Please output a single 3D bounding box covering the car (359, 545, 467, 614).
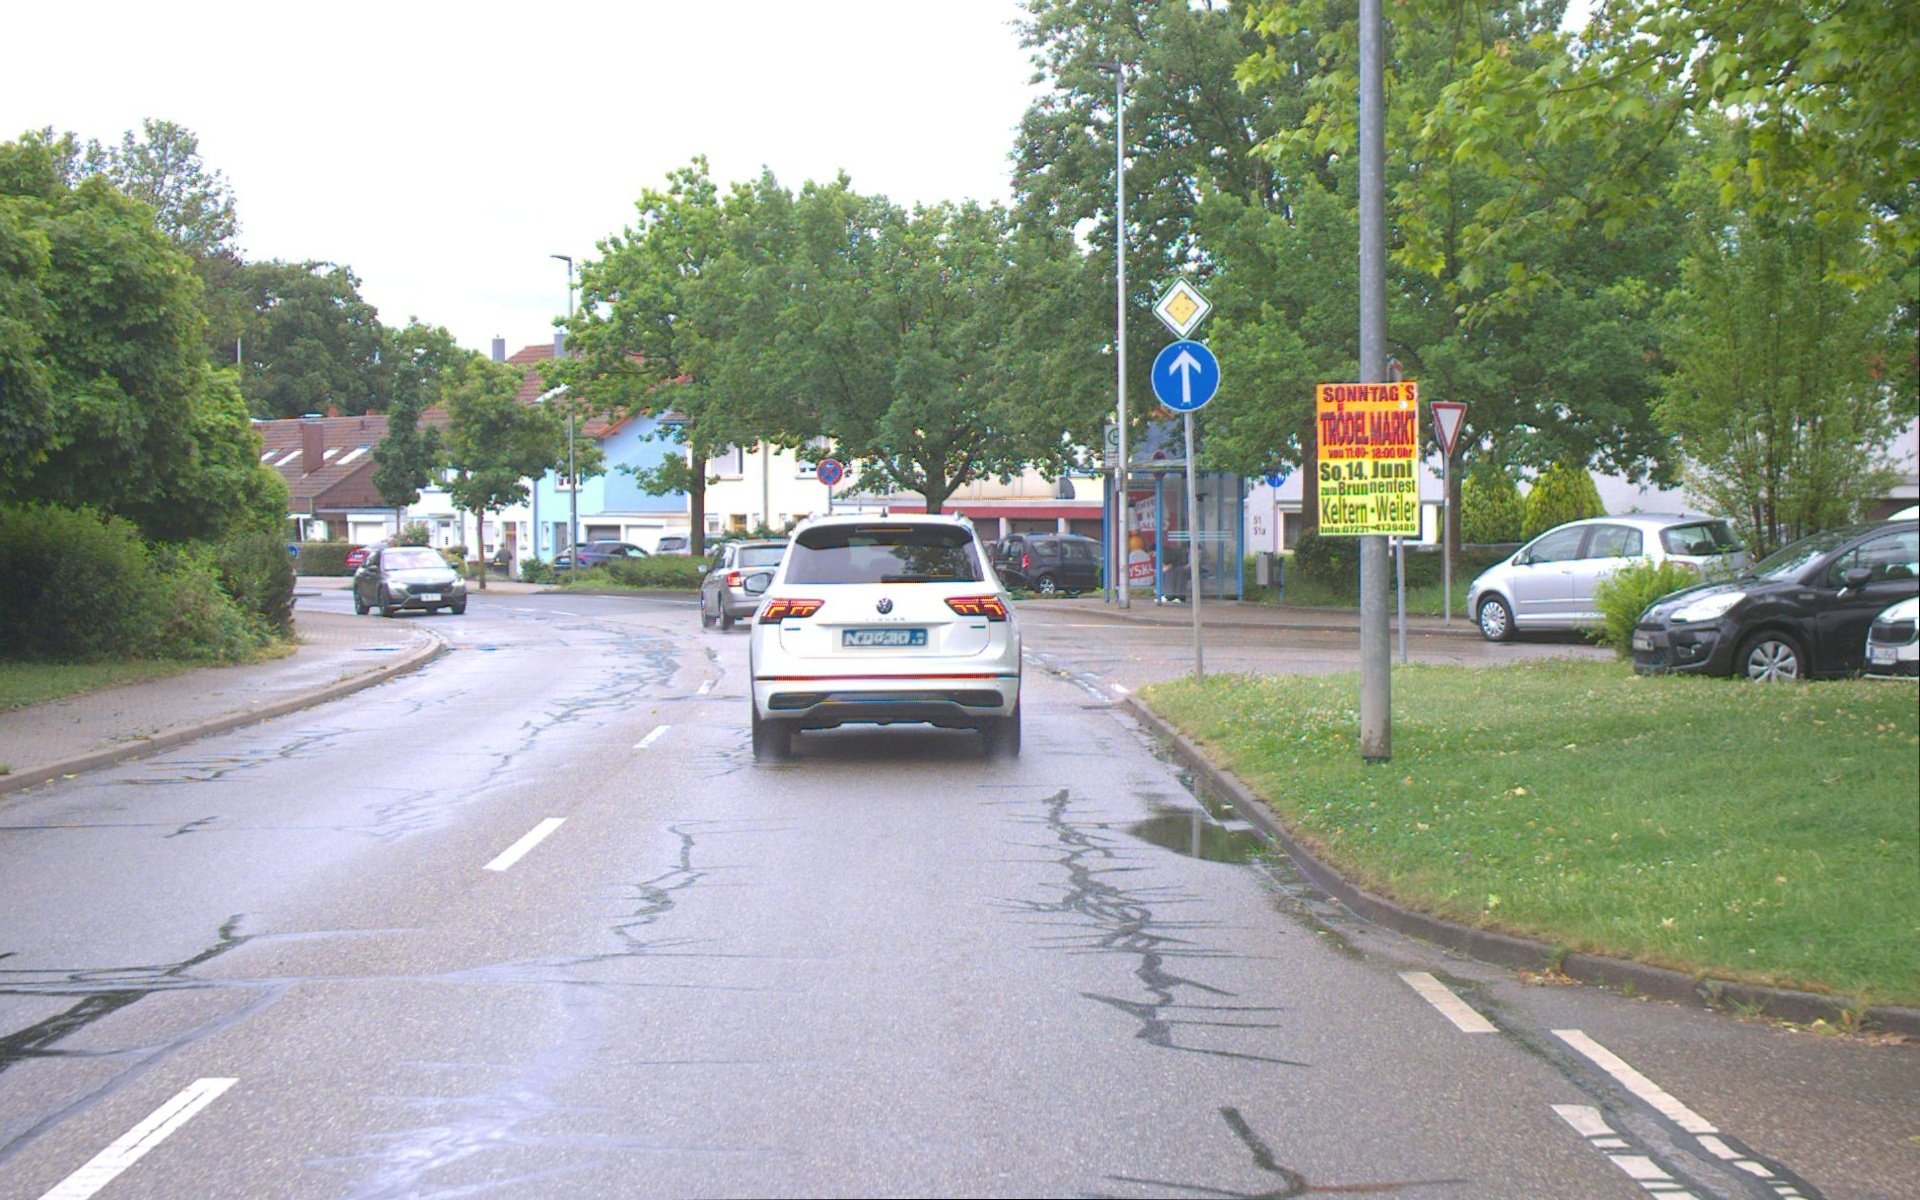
[{"bbox_3d":[-11.845,-0.463,74.256,1.740,1.410,4.144,-1,1,-17],"label":"car"}]

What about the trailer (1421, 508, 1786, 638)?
[{"bbox_3d":[8.103,-0.366,43.624,1.994,1.537,4.425,-1,2,-35],"label":"trailer"}]

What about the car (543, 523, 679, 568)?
[{"bbox_3d":[-10.972,-1.741,108.326,3.988,1.382,1.674,-1,2,-39],"label":"car"}]

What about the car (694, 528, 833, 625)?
[{"bbox_3d":[-3.285,-0.418,56.826,1.768,1.546,4.001,-1,1,-11],"label":"car"}]

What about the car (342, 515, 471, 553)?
[{"bbox_3d":[-19.504,-2.317,121.208,1.678,1.256,4.306,2,1,45],"label":"car"}]

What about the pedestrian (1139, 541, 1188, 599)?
[{"bbox_3d":[3.567,-0.530,60.370,0.748,1.008,0.551,0,1,-9],"label":"pedestrian"}]

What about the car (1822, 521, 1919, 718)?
[{"bbox_3d":[9.155,0.089,26.387,4.572,1.438,1.765,-1,1,-6],"label":"car"}]

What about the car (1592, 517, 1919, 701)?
[{"bbox_3d":[7.808,0.034,28.896,4.572,1.438,1.765,-1,1,-6],"label":"car"}]

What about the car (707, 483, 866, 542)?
[{"bbox_3d":[-5.038,-2.549,100.056,4.180,1.666,1.991,-1,1,-34],"label":"car"}]

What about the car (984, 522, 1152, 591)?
[{"bbox_3d":[2.788,-1.123,88.350,3.988,1.715,1.924,-1,1,-37],"label":"car"}]

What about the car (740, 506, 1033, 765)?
[{"bbox_3d":[-0.493,0.179,24.256,1.865,1.645,4.000,-1,1,-1],"label":"car"}]

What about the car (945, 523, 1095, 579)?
[{"bbox_3d":[1.594,-1.310,90.796,3.693,1.437,1.707,-1,1,-37],"label":"car"}]

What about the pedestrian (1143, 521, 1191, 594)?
[{"bbox_3d":[3.597,-0.738,59.674,0.726,1.246,0.551,0,1,-9],"label":"pedestrian"}]

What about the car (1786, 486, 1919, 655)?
[{"bbox_3d":[11.513,-0.338,38.562,1.993,1.874,4.213,-1,1,-31],"label":"car"}]
